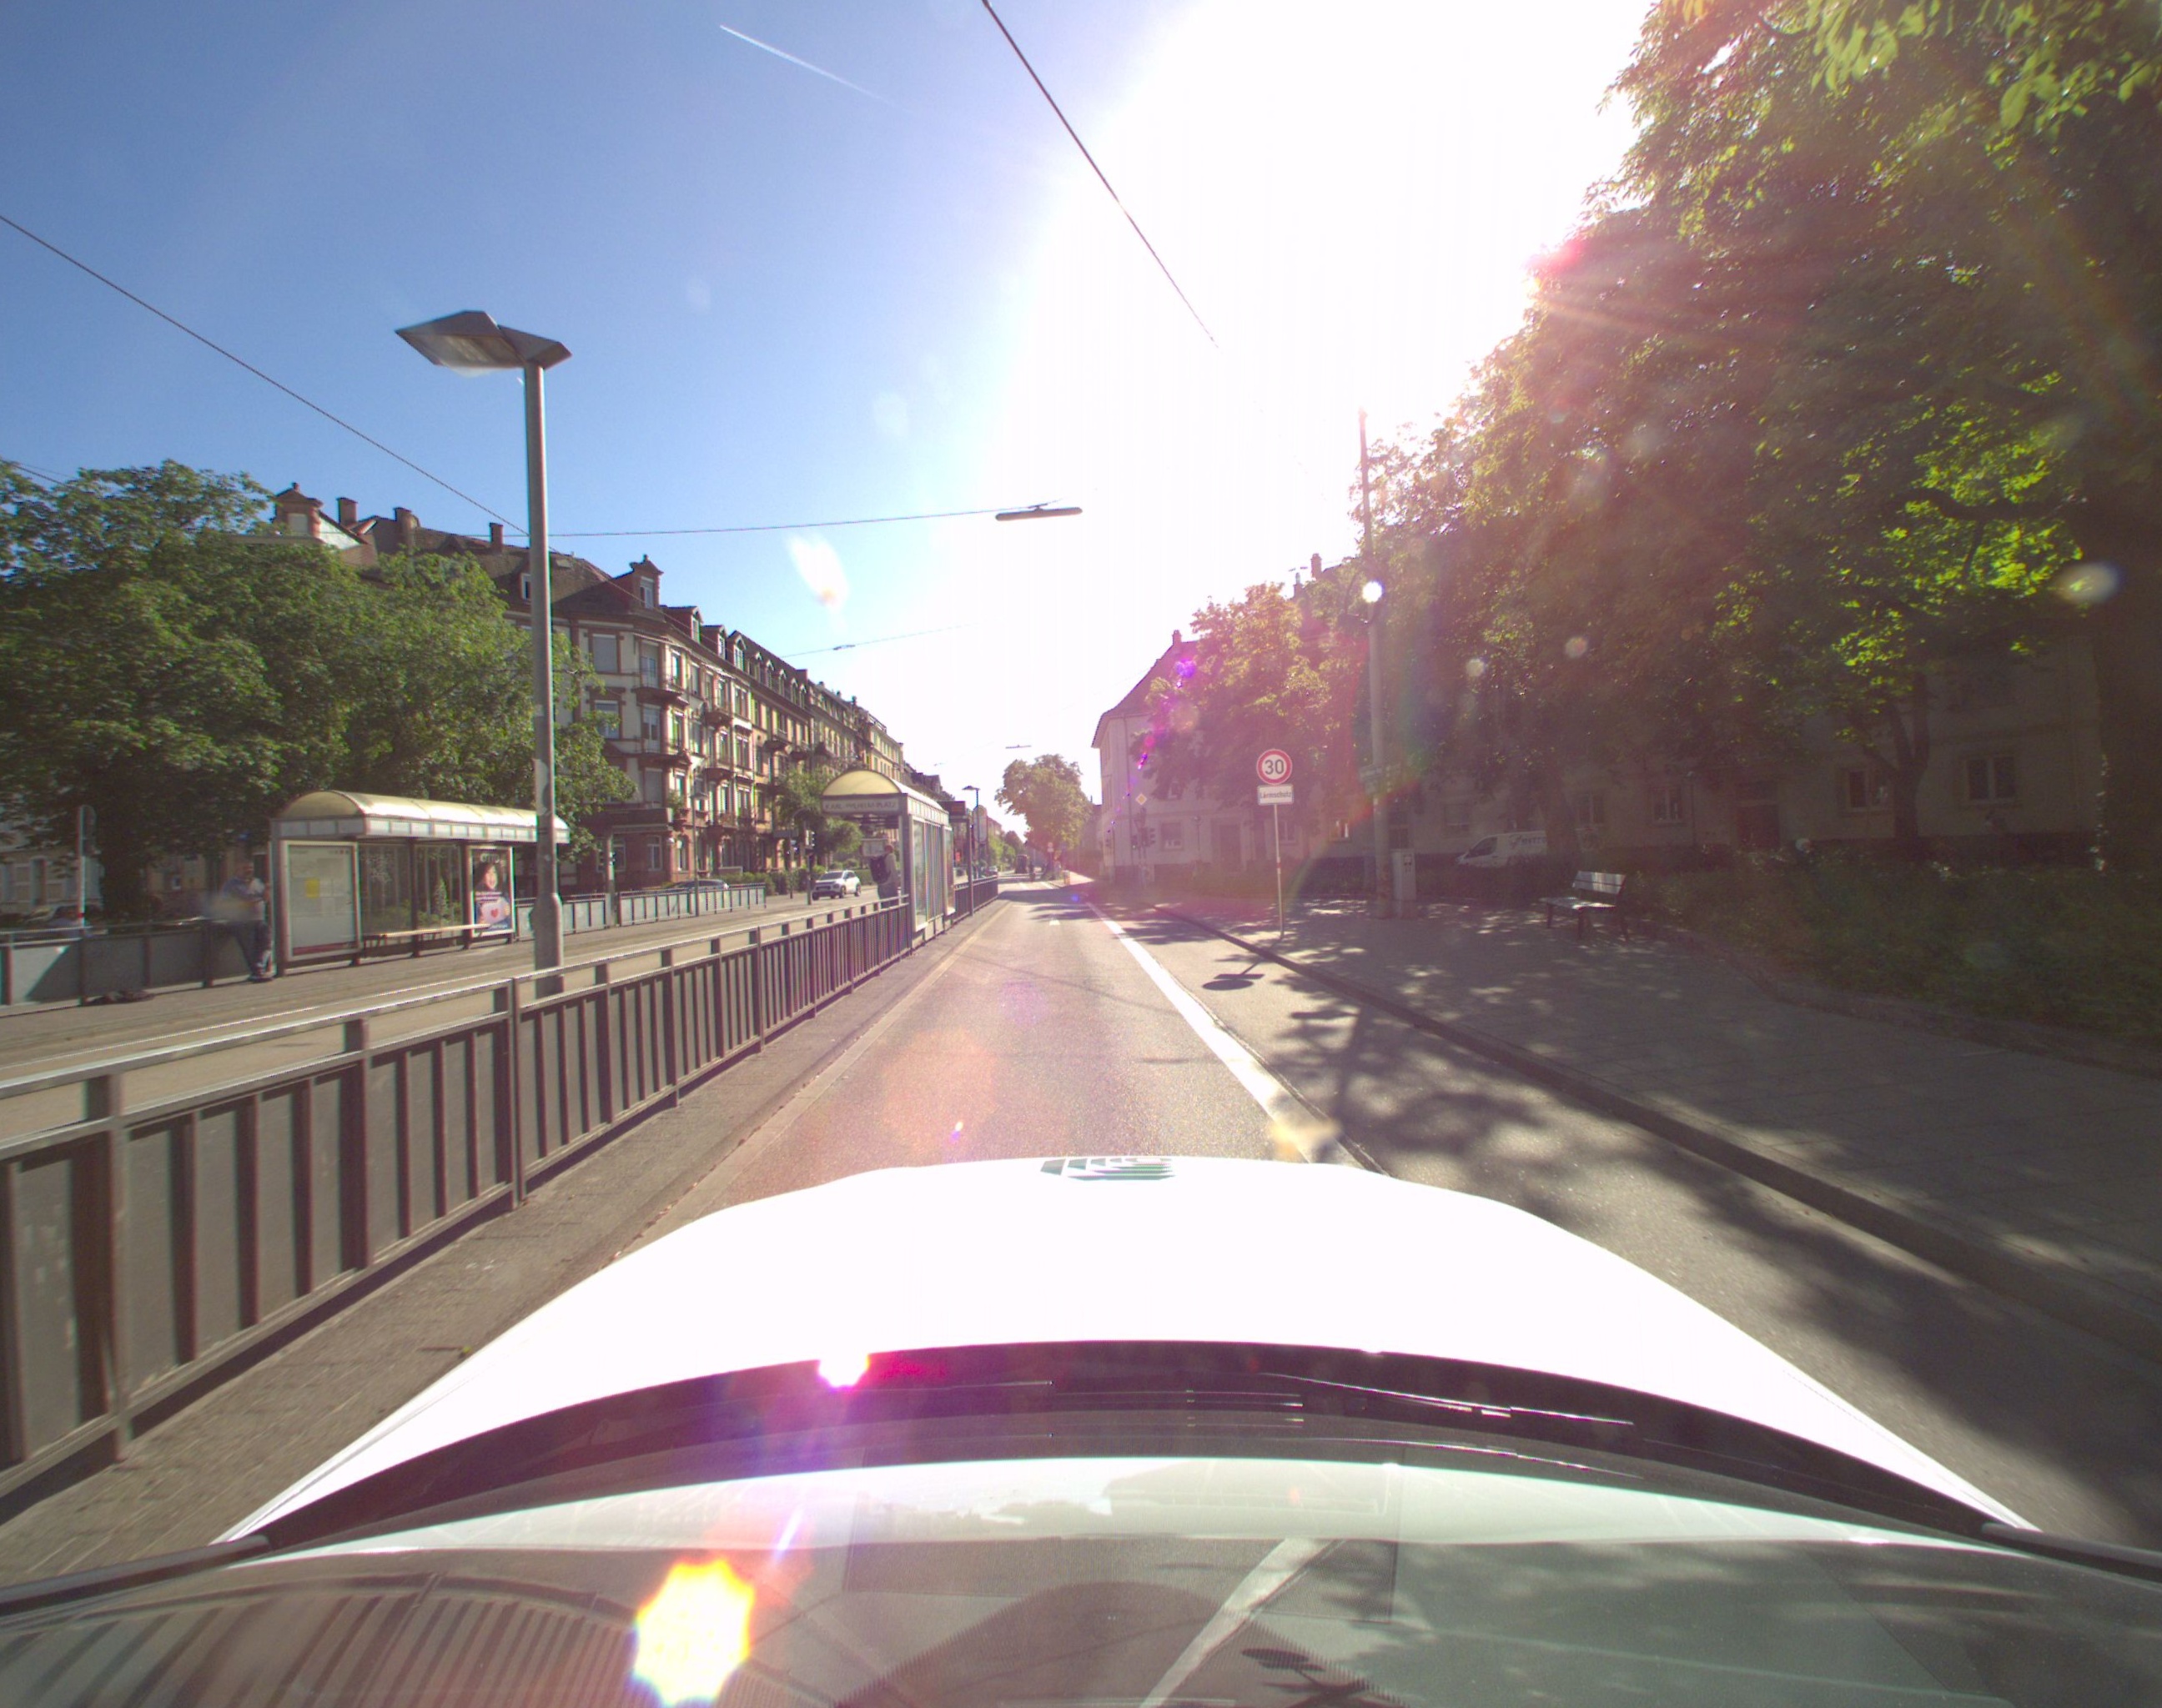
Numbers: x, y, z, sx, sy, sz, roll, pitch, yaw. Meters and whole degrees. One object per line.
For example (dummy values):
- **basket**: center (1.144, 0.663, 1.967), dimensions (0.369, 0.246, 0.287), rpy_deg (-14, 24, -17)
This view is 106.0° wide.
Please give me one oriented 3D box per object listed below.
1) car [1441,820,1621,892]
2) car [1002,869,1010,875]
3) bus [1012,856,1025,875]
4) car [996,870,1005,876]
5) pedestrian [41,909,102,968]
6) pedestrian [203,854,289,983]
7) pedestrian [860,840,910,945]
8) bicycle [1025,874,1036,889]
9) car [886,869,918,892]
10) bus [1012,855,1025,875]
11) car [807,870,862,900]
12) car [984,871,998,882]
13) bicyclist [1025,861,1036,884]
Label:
- **car**: center (15.119, 0.141, 27.672), dimensions (2.132, 2.208, 4.896), rpy_deg (0, -2, -30)
- **car**: center (-21.056, 5.143, 228.585), dimensions (1.989, 1.596, 3.996), rpy_deg (-1, -2, -2)
- **bus**: center (-11.956, 2.318, 157.084), dimensions (2.381, 3.497, 7.372), rpy_deg (-1, -2, -4)
- **car**: center (-20.365, 4.780, 205.668), dimensions (1.989, 1.596, 3.996), rpy_deg (-1, -2, -2)
- **pedestrian**: center (-22.215, 1.848, 17.929), dimensions (0.608, 1.202, 0.575), rpy_deg (-3, -1, -19)
- **pedestrian**: center (-12.151, 0.920, 11.862), dimensions (0.605, 1.795, 0.578), rpy_deg (-2, -1, -4)
- **pedestrian**: center (-3.896, 0.758, 16.224), dimensions (0.793, 2.014, 0.740), rpy_deg (-1, -2, -2)
- **bicycle**: center (-4.086, 2.221, 66.259), dimensions (0.839, 1.156, 2.537), rpy_deg (-1, -2, -2)
- **car**: center (-13.643, 2.018, 62.278), dimensions (1.772, 1.618, 3.994), rpy_deg (-1, -2, -3)
- **bus**: center (-11.444, 2.118, 149.719), dimensions (2.381, 3.497, 7.372), rpy_deg (-1, -2, -4)
- **car**: center (-13.945, 1.731, 46.209), dimensions (1.769, 1.618, 4.001), rpy_deg (-1, -2, 2)
- **car**: center (-14.230, 3.602, 129.208), dimensions (1.990, 1.596, 3.992), rpy_deg (-1, -2, -5)
- **bicyclist**: center (-4.098, 1.524, 66.263), dimensions (0.816, 1.811, 1.058), rpy_deg (-1, -2, -2)
